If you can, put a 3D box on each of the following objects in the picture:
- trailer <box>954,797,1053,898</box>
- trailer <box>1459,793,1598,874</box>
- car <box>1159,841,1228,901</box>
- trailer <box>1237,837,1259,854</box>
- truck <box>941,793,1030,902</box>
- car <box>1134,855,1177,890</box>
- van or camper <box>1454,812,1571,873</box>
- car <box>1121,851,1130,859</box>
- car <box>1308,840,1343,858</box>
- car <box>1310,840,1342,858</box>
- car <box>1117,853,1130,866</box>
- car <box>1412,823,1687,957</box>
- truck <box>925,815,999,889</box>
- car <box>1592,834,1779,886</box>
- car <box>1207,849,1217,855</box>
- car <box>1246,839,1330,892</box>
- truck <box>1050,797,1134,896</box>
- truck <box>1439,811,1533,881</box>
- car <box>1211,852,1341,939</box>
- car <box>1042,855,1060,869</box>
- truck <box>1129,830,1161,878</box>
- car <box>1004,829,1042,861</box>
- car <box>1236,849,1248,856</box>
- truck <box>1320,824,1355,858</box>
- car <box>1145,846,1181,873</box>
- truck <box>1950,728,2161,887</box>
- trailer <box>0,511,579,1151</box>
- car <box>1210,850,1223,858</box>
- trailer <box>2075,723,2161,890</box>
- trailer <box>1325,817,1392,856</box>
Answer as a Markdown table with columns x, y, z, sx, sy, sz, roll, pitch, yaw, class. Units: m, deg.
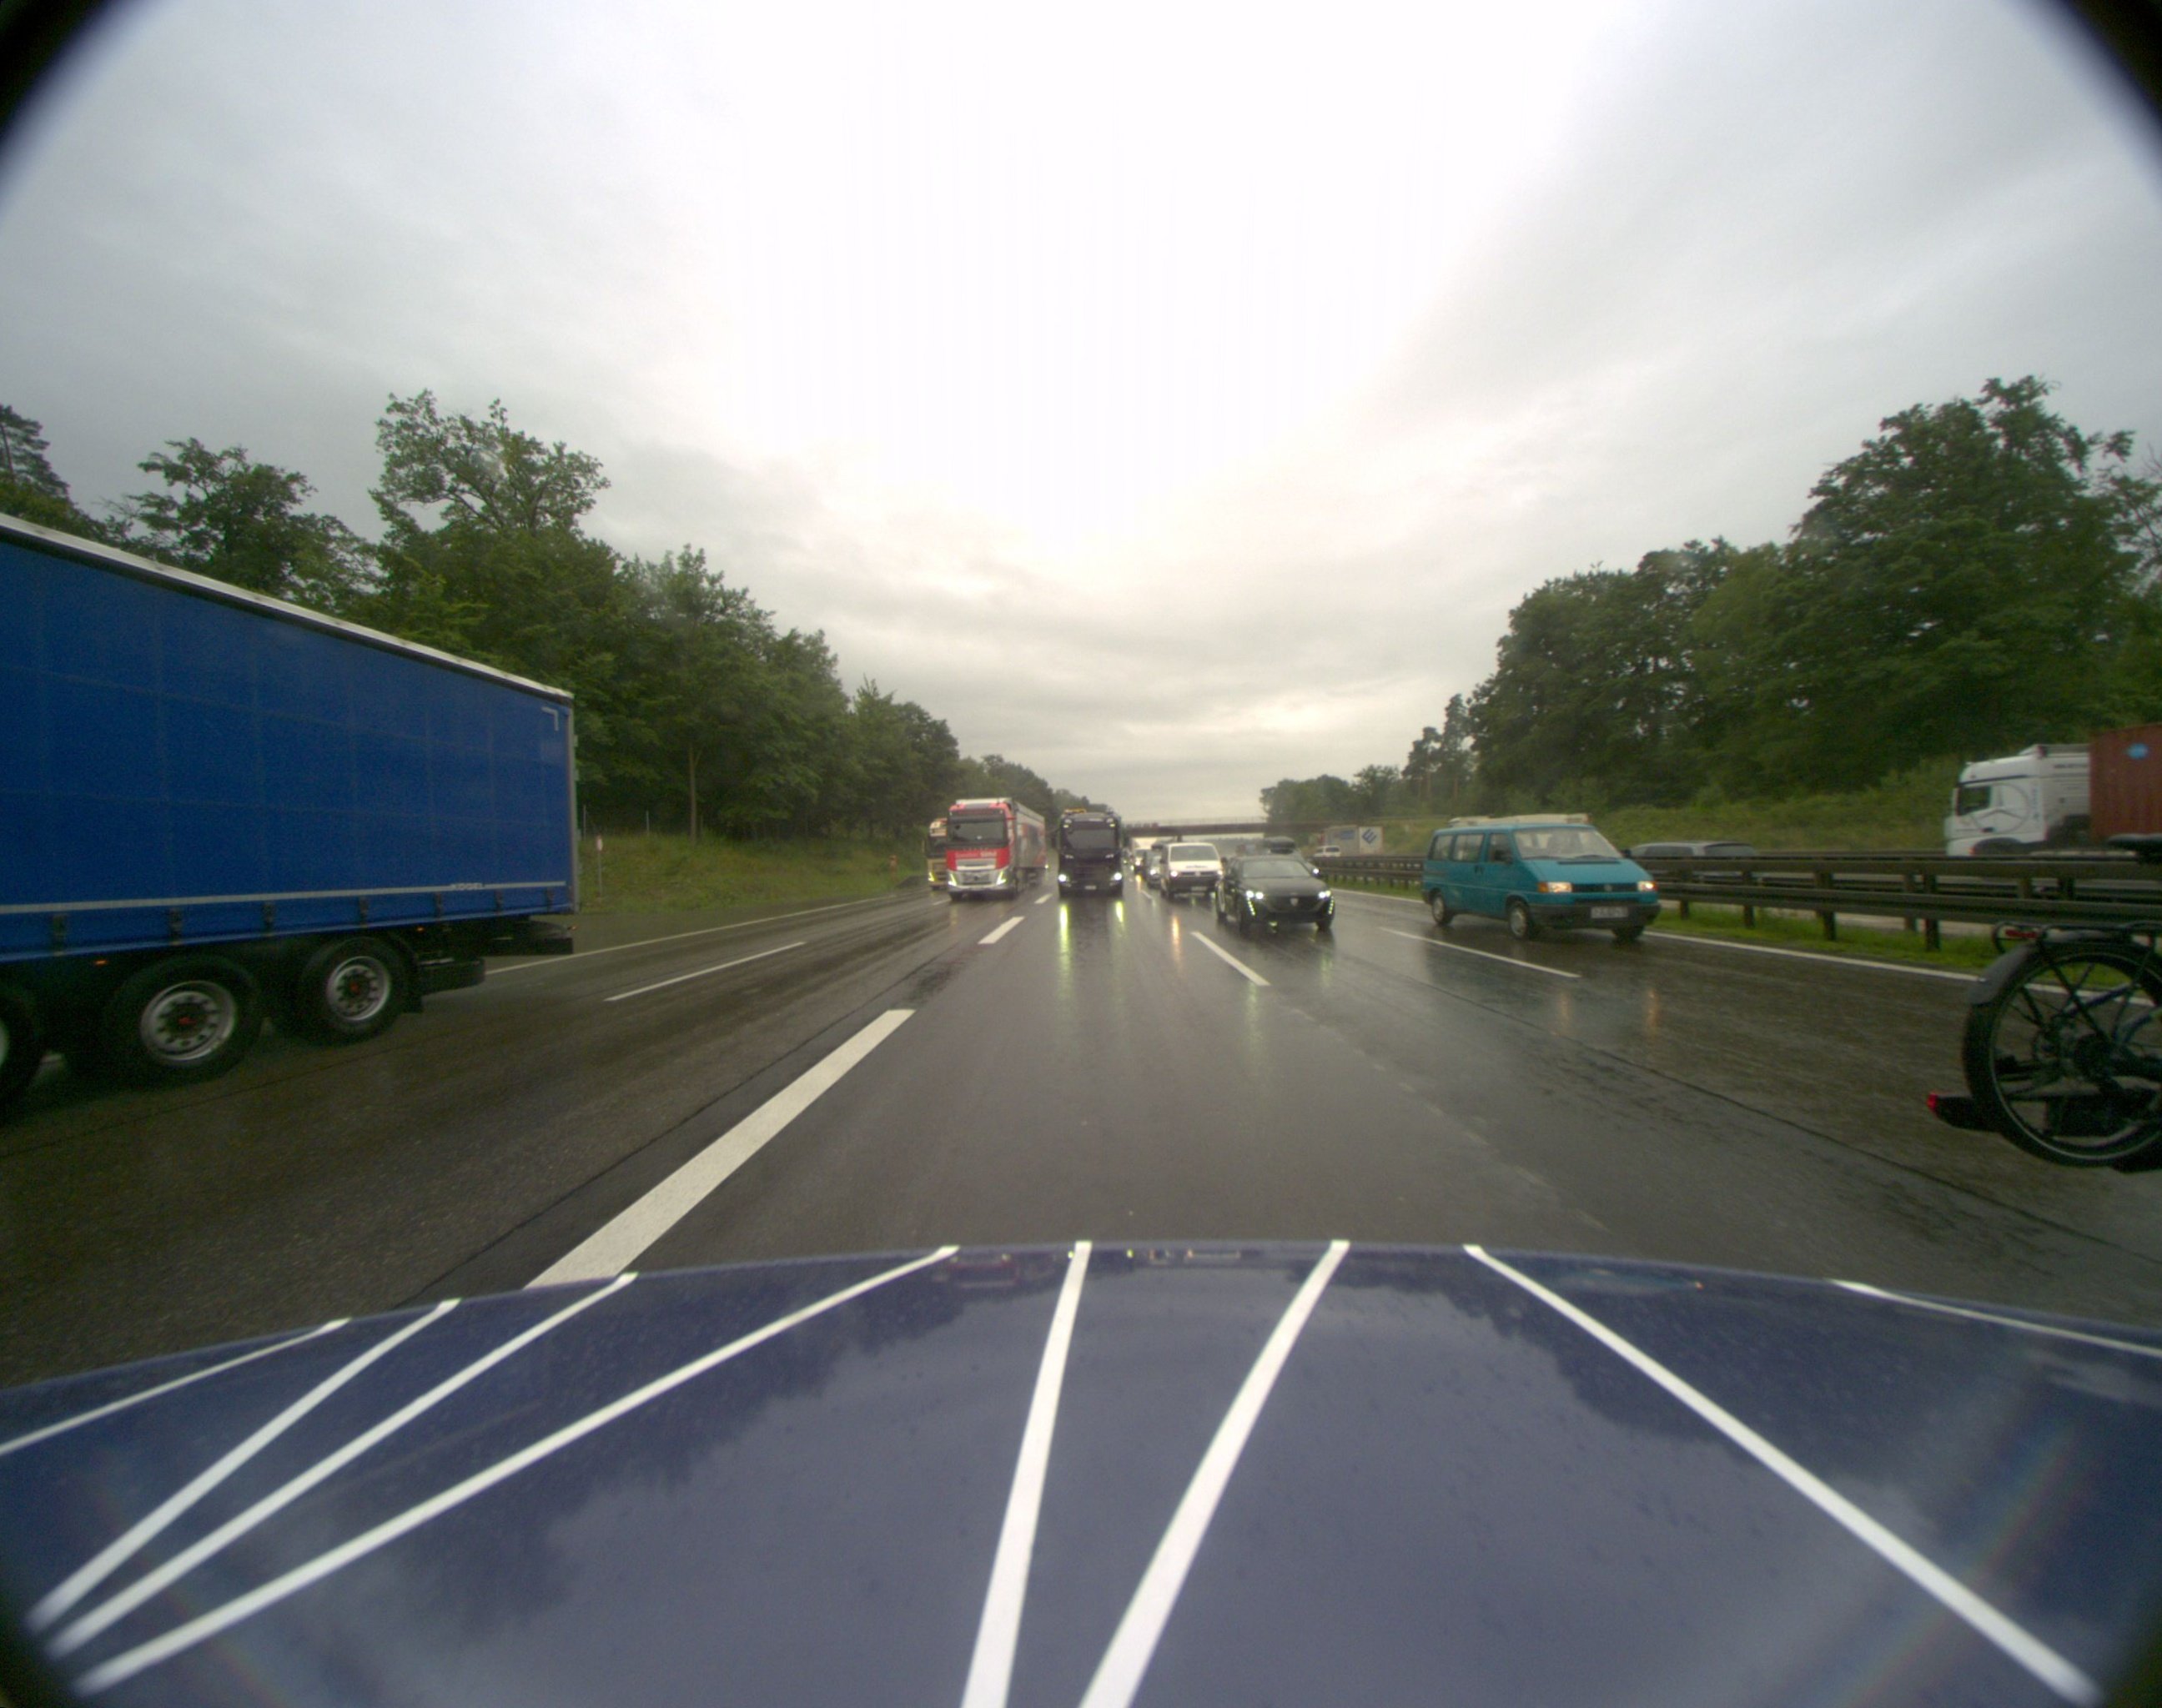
| x | y | z | sx | sy | sz | roll | pitch | yaw | class |
| --- | --- | --- | --- | --- | --- | --- | --- | --- | --- |
| -3.373 | -0.316 | 37.678 | 2.607 | 3.934 | 14.583 | -2 | 0 | 3 | trailer |
| 24.449 | -1.033 | 42.232 | 2.383 | 3.931 | 9.422 | -1 | 0 | 1 | trailer |
| 3.859 | 0.537 | 26.840 | 1.994 | 1.869 | 4.768 | -2 | 0 | 4 | car |
| 37.852 | -1.895 | 172.666 | 3.031 | 3.795 | 13.565 | -2 | 0 | 5 | trailer |
| -3.691 | -0.261 | 30.749 | 2.608 | 3.934 | 5.600 | -2 | 1 | 1 | truck |
| 3.513 | 0.848 | 36.329 | 1.850 | 1.496 | 4.467 | -2 | 0 | 4 | car |
| 19.676 | -0.480 | 35.056 | 2.203 | 2.532 | 6.121 | -1 | 0 | 3 | van or camper |
| 9.599 | 0.234 | 164.422 | 1.864 | 1.554 | 4.436 | -2 | 0 | 2 | car |
| 25.997 | -0.520 | 80.992 | 1.982 | 1.814 | 5.222 | -2 | 0 | 1 | car |
| 26.125 | -0.501 | 81.085 | 1.998 | 1.759 | 5.040 | -1 | 0 | 2 | car |
| 7.186 | 0.870 | 128.125 | 1.998 | 2.002 | 4.000 | -2 | 0 | 2 | car |
| 7.750 | 0.504 | 13.272 | 1.915 | 1.852 | 4.759 | -2 | 0 | 2 | car |
| -6.989 | -0.151 | 46.277 | 2.608 | 3.934 | 9.939 | -2 | 0 | 1 | truck |
| 15.931 | 0.148 | 20.360 | 1.701 | 1.212 | 4.208 | -2 | 0 | 1 | car |
| 31.715 | -0.424 | 184.382 | 1.997 | 1.498 | 4.709 | -1 | 0 | 6 | car |
| 7.929 | 0.394 | 29.591 | 1.982 | 1.814 | 4.606 | -2 | 0 | 1 | car |
| 0.765 | -0.325 | 33.176 | 2.879 | 3.528 | 10.913 | -2 | 1 | 4 | truck |
| 24.558 | -0.488 | 46.454 | 2.383 | 3.931 | 6.536 | -1 | 1 | 1 | truck |
| 3.887 | 0.750 | 15.888 | 1.850 | 1.496 | 4.467 | -1 | 1 | 4 | car |
| -3.688 | 0.921 | 92.898 | 1.864 | 1.554 | 4.406 | -2 | 0 | 1 | car |
| 5.561 | -0.006 | 66.587 | 2.520 | 3.941 | 6.996 | -2 | 0 | 4 | truck |
| -3.778 | -0.573 | 50.289 | 1.998 | 2.002 | 4.000 | -2 | 0 | 1 | car |
| 32.042 | -0.289 | 151.590 | 1.705 | 1.297 | 3.757 | -2 | 0 | 2 | car |
| 30.633 | -1.570 | 90.883 | 2.710 | 3.931 | 4.891 | -1 | 1 | 2 | truck |
| 5.196 | 0.342 | 48.504 | 1.994 | 1.551 | 4.768 | -2 | 0 | 3 | car |
| 27.304 | -1.155 | 19.567 | 2.710 | 3.795 | 6.264 | -2 | 0 | 1 | truck |
| -8.044 | -0.106 | 3.027 | 2.560 | 3.990 | 13.714 | -2 | 0 | 1 | trailer |
| 28.769 | 0.031 | 161.586 | 1.998 | 1.498 | 4.708 | -1 | 0 | 3 | car |
| 27.176 | -1.144 | 13.616 | 2.625 | 4.002 | 12.373 | -2 | 0 | 1 | trailer |
| 30.369 | -1.823 | 83.876 | 2.726 | 3.931 | 13.961 | -1 | 0 | 2 | trailer |
